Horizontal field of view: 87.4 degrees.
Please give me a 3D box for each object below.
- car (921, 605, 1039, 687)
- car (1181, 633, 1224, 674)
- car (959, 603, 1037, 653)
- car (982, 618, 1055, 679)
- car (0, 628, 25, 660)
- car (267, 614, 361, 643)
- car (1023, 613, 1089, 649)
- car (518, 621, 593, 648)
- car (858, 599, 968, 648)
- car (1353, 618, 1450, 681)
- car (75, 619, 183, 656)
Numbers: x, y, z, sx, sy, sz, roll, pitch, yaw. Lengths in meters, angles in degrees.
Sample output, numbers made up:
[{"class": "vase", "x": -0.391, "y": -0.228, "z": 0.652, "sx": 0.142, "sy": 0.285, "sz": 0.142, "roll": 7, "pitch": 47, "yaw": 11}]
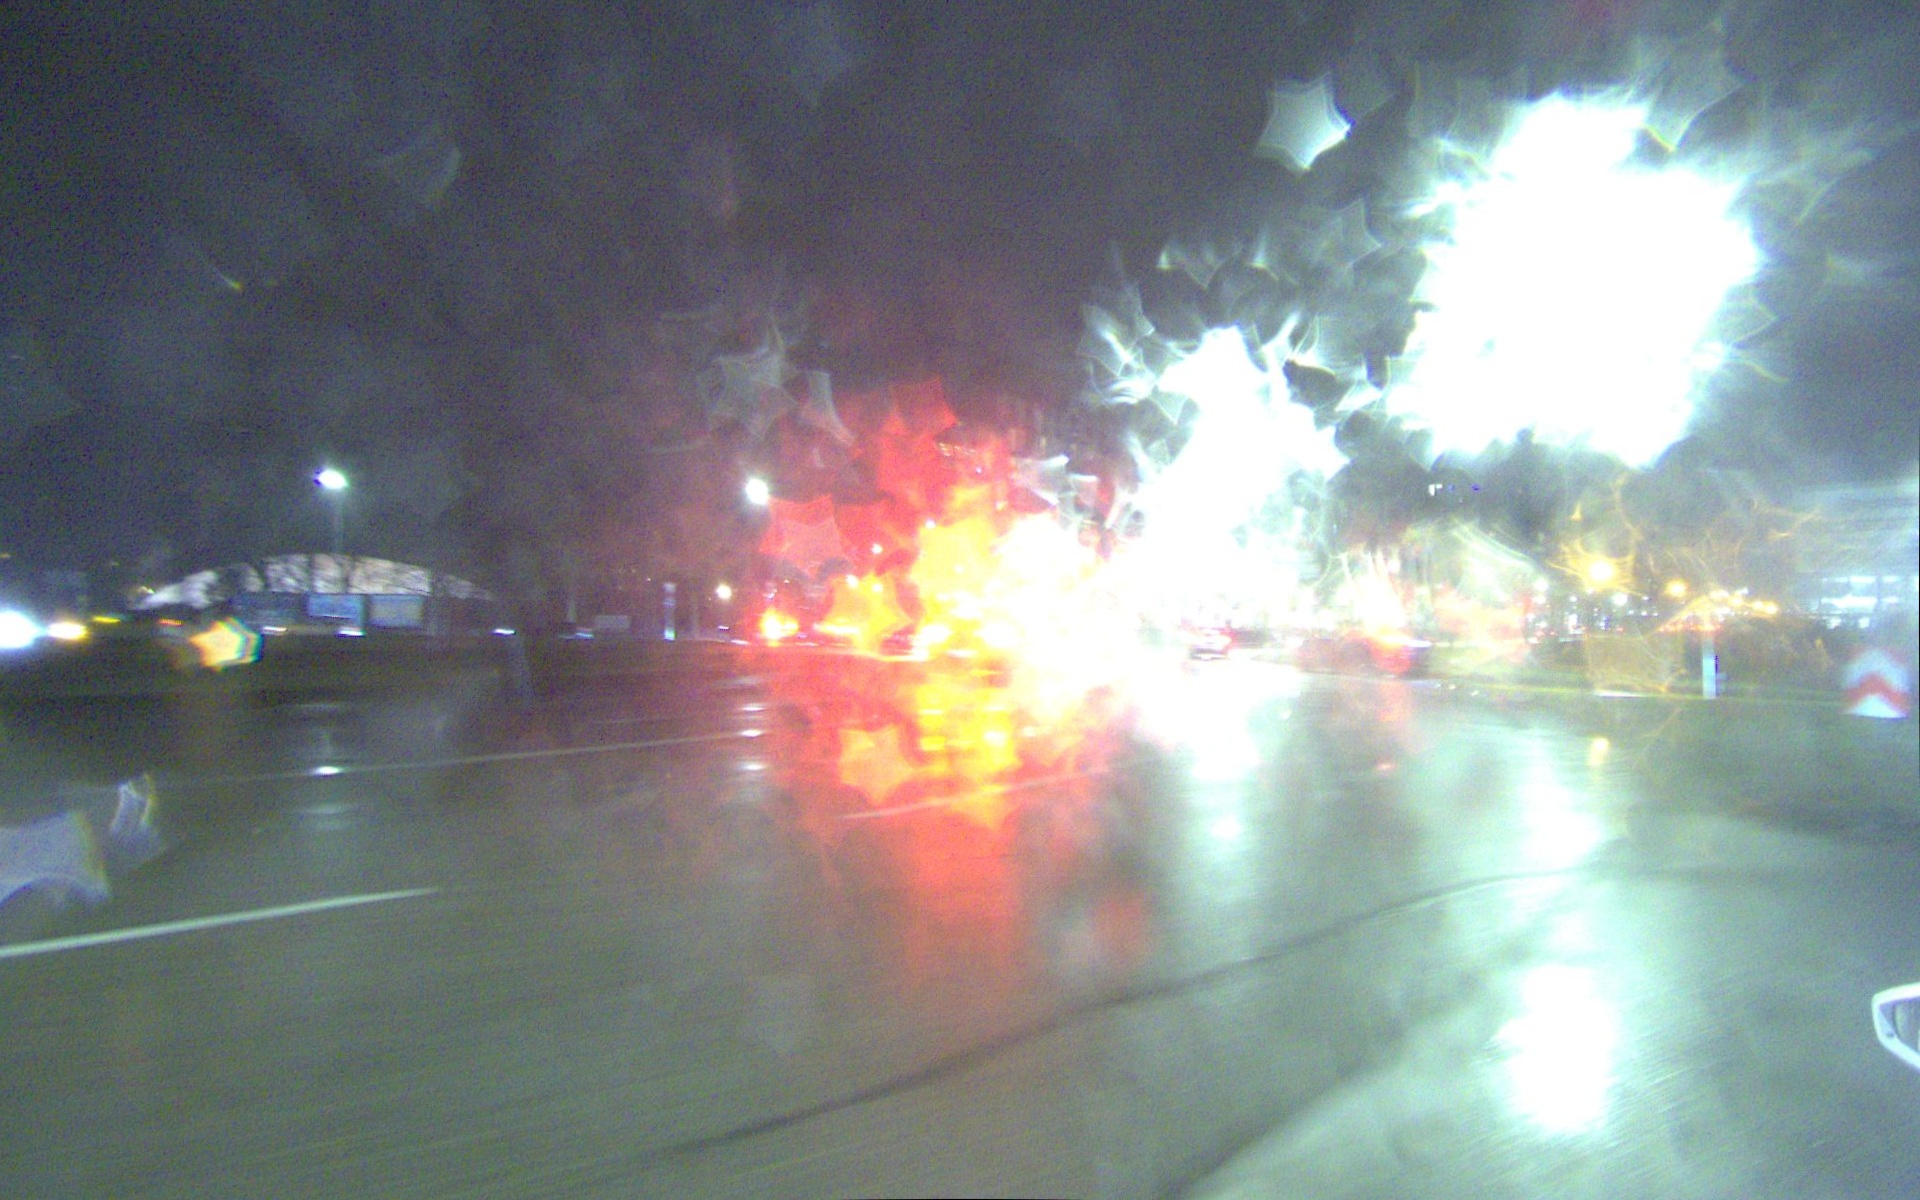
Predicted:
[{"class": "car", "x": 0.536, "y": 0.925, "z": 21.975, "sx": 1.702, "sy": 1.600, "sz": 3.966, "roll": 0, "pitch": 0, "yaw": 15}, {"class": "car", "x": 10.897, "y": 2.375, "z": 45.386, "sx": 1.563, "sy": 1.605, "sz": 4.002, "roll": 0, "pitch": 0, "yaw": 9}, {"class": "car", "x": 1.234, "y": 0.912, "z": 34.492, "sx": 1.707, "sy": 1.600, "sz": 3.954, "roll": 0, "pitch": 0, "yaw": -13}, {"class": "car", "x": 1.646, "y": 1.374, "z": 29.602, "sx": 1.840, "sy": 1.600, "sz": 3.964, "roll": 0, "pitch": 0, "yaw": -1}, {"class": "car", "x": -52.093, "y": 2.367, "z": 54.220, "sx": 3.937, "sy": 1.595, "sz": 1.753, "roll": 0, "pitch": 0, "yaw": 38}, {"class": "car", "x": -34.625, "y": 1.489, "z": 53.956, "sx": 3.963, "sy": 1.464, "sz": 1.822, "roll": 0, "pitch": 0, "yaw": -24}, {"class": "car", "x": 4.296, "y": 1.369, "z": 45.519, "sx": 1.739, "sy": 1.506, "sz": 3.988, "roll": 0, "pitch": 0, "yaw": -14}, {"class": "car", "x": -23.302, "y": 1.991, "z": 57.986, "sx": 3.958, "sy": 1.464, "sz": 1.824, "roll": 0, "pitch": 0, "yaw": -21}, {"class": "car", "x": -2.277, "y": 1.000, "z": 46.374, "sx": 2.486, "sy": 2.117, "sz": 6.262, "roll": 0, "pitch": 0, "yaw": -30}, {"class": "car", "x": 12.995, "y": 1.408, "z": 29.797, "sx": 1.826, "sy": 1.662, "sz": 3.893, "roll": 0, "pitch": 0, "yaw": 11}, {"class": "car", "x": -39.634, "y": 1.749, "z": 47.957, "sx": 1.749, "sy": 1.639, "sz": 3.848, "roll": 0, "pitch": 0, "yaw": 45}]
